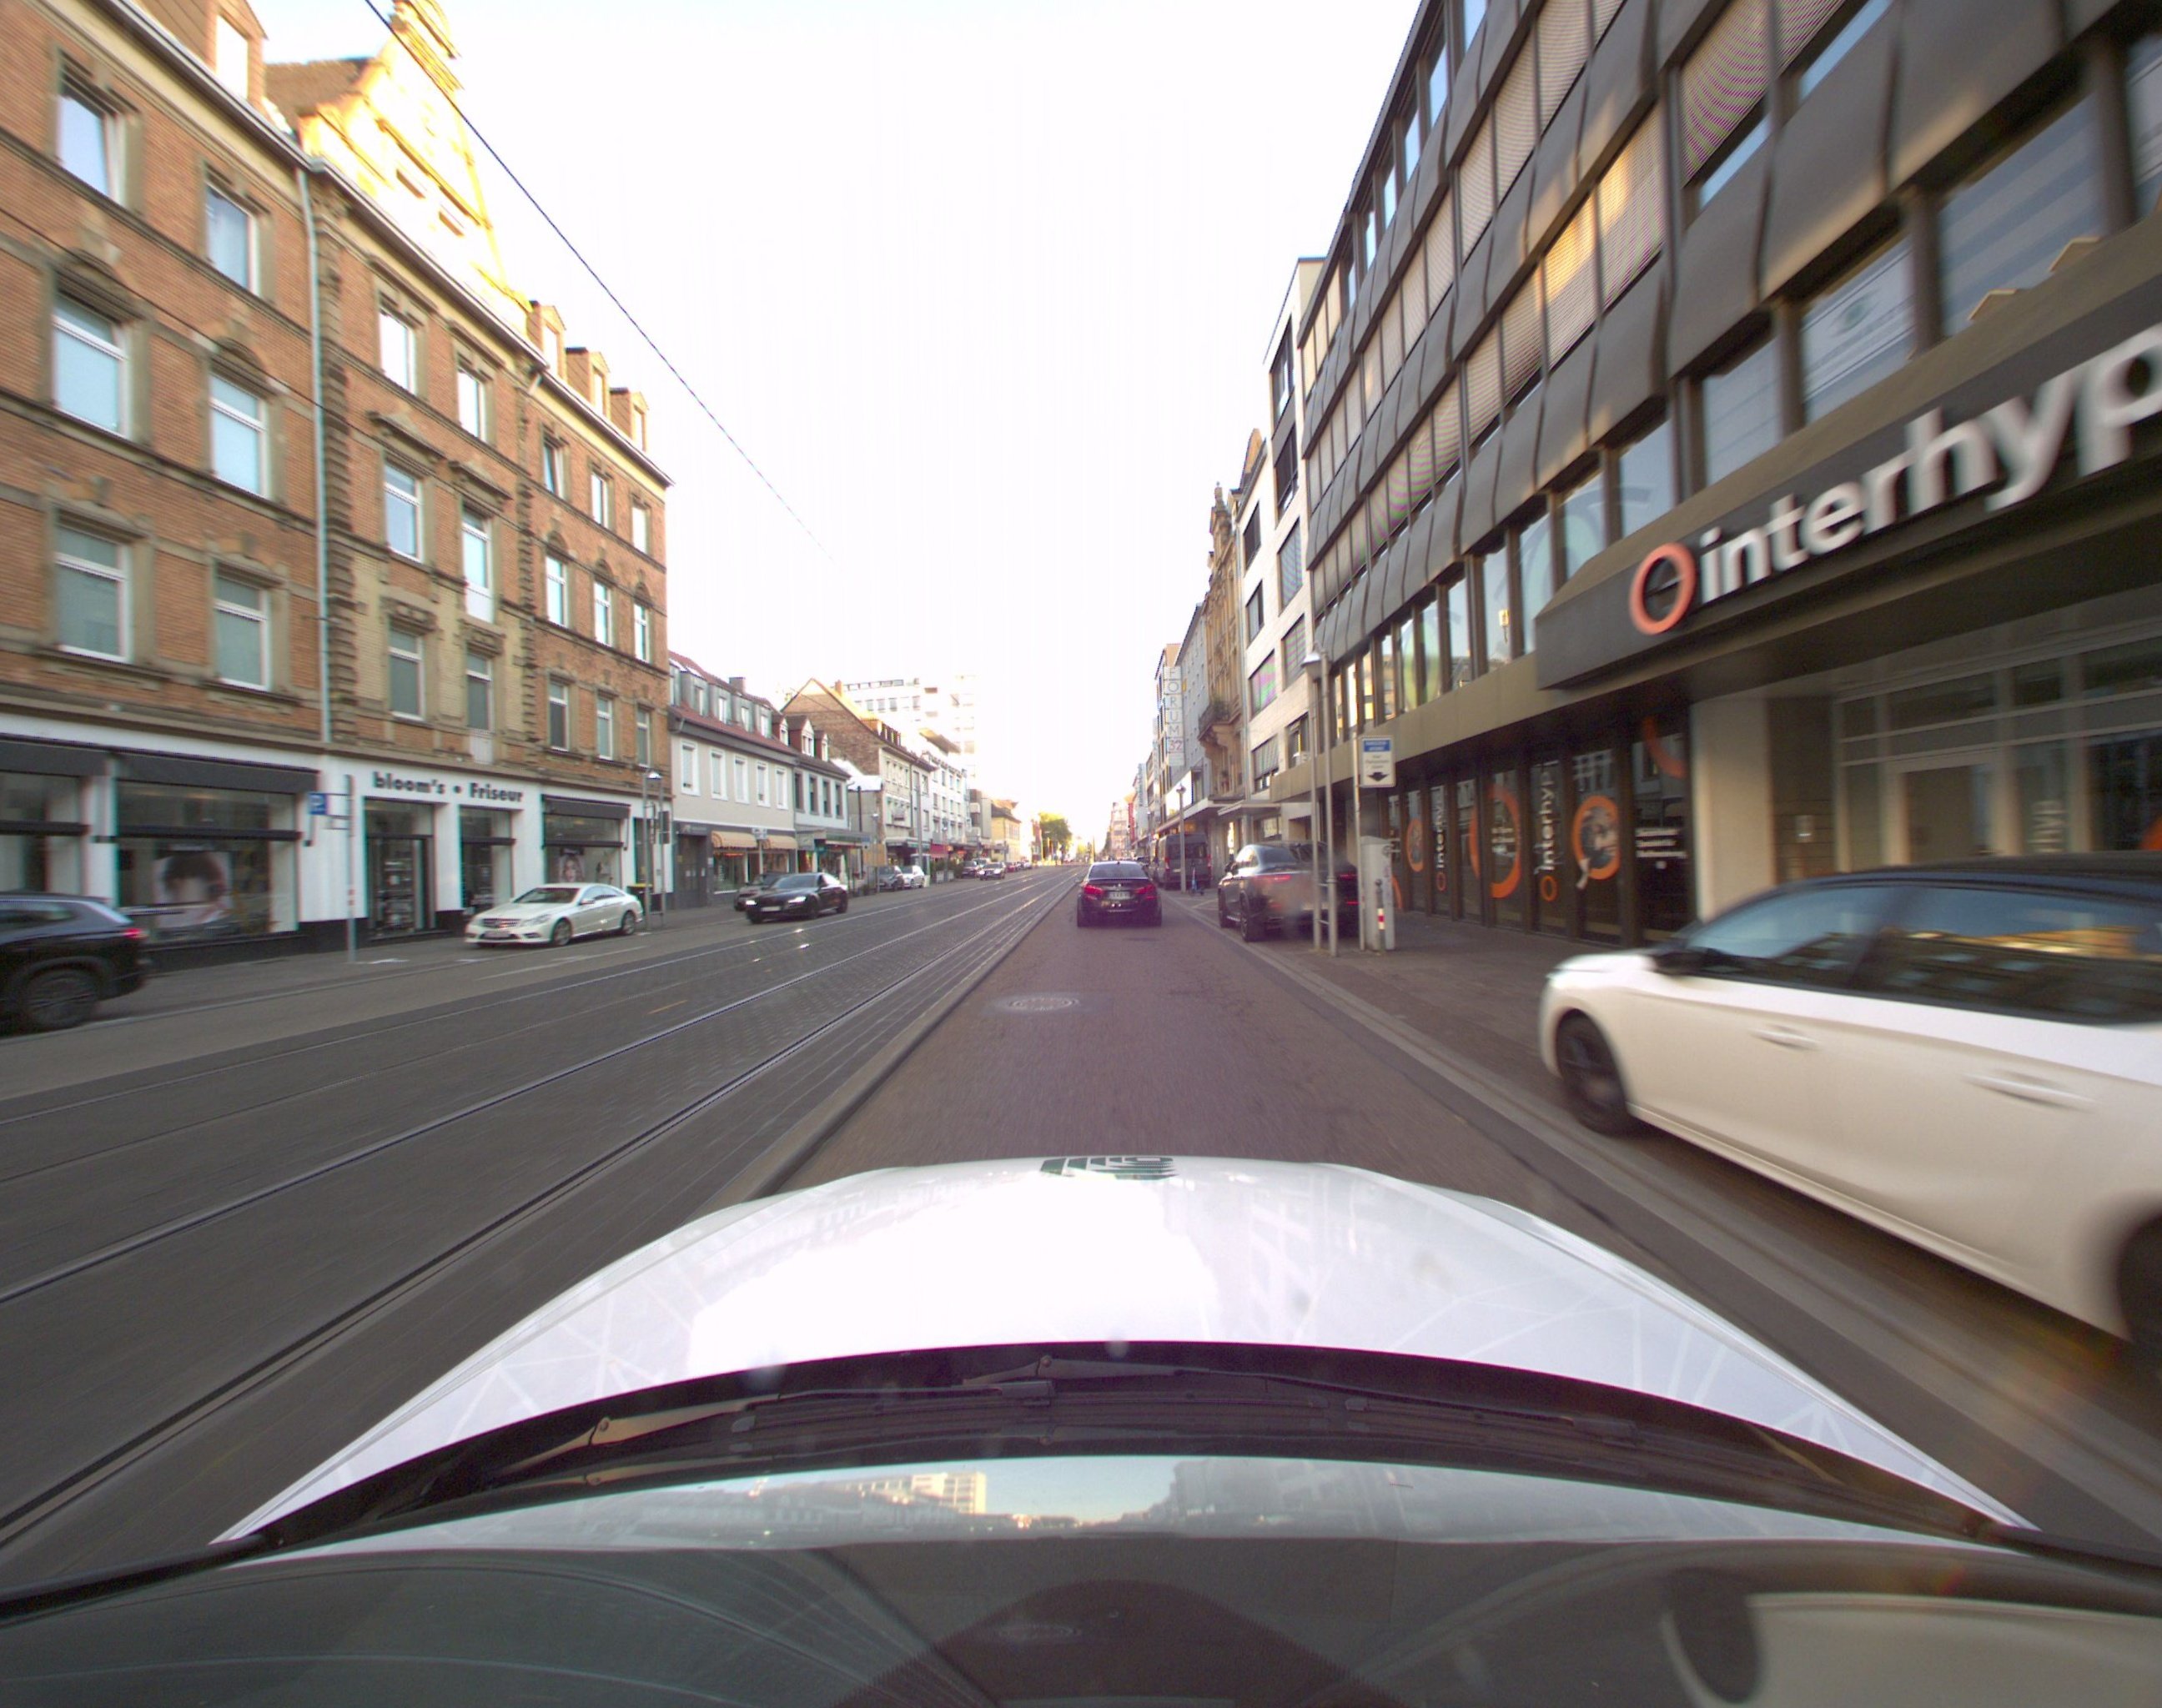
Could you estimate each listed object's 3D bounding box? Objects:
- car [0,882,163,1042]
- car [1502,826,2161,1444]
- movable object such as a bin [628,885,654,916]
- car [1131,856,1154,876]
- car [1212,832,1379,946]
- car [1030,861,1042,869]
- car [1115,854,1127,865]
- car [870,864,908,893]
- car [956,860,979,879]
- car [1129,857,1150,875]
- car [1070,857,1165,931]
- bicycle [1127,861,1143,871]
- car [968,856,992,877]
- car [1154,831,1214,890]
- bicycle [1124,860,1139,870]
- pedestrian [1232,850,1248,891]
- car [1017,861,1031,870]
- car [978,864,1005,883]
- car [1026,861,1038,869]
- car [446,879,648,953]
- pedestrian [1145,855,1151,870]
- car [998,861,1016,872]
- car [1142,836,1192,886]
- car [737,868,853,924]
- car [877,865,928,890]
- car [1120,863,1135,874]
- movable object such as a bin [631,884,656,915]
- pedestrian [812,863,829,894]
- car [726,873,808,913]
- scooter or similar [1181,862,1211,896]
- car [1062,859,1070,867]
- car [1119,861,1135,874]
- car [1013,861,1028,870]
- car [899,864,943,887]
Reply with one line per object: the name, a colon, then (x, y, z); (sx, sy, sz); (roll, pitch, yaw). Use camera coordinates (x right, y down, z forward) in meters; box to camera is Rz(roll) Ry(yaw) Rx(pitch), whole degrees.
car: (-12.734, 1.208, 8.034); (1.922, 1.674, 4.650); (-1, 0, 4)
car: (3.519, 0.664, 3.146); (1.789, 1.433, 3.888); (-4, 0, 2)
movable object such as a bin: (-15.064, 1.588, 27.868); (0.516, 1.043, 0.659); (0, -1, 1)
car: (5.066, 0.964, 67.234); (1.649, 1.537, 3.886); (-3, 0, 1)
car: (3.778, 0.579, 15.250); (1.986, 1.727, 4.567); (-3, 0, 2)
car: (-8.834, 2.183, 159.086); (1.921, 1.435, 4.247); (-1, 0, 2)
car: (6.213, 0.880, 126.879); (1.768, 1.549, 3.503); (-1, -1, 1)
car: (-11.312, 1.436, 48.023); (1.471, 1.577, 2.795); (-2, -1, 1)
car: (-10.958, 1.494, 78.899); (1.862, 1.685, 3.995); (-1, -1, -3)
car: (5.146, 1.020, 72.276); (1.554, 1.442, 3.709); (-4, 0, 1)
car: (0.878, 0.855, 19.367); (1.945, 1.498, 4.468); (-2, 0, 3)
bicycle: (6.330, 1.391, 96.350); (1.854, 1.080, 0.469); (-2, -2, 2)
car: (-10.745, 1.302, 86.816); (1.988, 2.156, 4.907); (-2, 0, -2)
car: (4.736, 0.308, 38.468); (2.085, 2.455, 6.033); (-3, 0, 1)
bicycle: (6.369, 1.402, 102.102); (1.854, 1.119, 0.469); (-2, -2, 2)
pedestrian: (6.496, 0.668, 33.287); (0.548, 1.644, 0.533); (0, -1, 1)
car: (-9.518, 1.890, 136.041); (1.921, 1.435, 4.247); (-1, 0, 2)
car: (-7.669, 1.681, 69.977); (1.685, 1.453, 4.467); (0, 1, 2)
car: (-9.084, 2.069, 151.276); (1.921, 1.435, 4.247); (-1, 0, 2)
car: (-12.520, 1.384, 19.538); (1.864, 1.453, 4.606); (1, -1, -2)
pedestrian: (7.813, 0.988, 95.263); (0.552, 1.791, 0.760); (-2, -1, 1)
car: (-10.125, 1.661, 111.332); (1.921, 1.435, 4.247); (-1, 0, 2)
car: (4.668, 0.402, 44.778); (2.027, 2.455, 5.408); (-4, 0, 0)
car: (-8.768, 1.243, 25.450); (1.988, 1.453, 4.646); (-3, 0, -1)
car: (-11.409, 1.489, 52.372); (1.985, 1.453, 4.825); (-2, 0, 2)
car: (6.352, 2.031, 112.477); (1.896, 1.549, 3.781); (-1, -1, 1)
movable object such as a bin: (-15.393, 1.598, 28.659); (0.493, 1.033, 0.694); (0, -1, 1)
pedestrian: (-14.195, 1.335, 44.427); (0.660, 1.644, 0.694); (-1, -1, 2)
car: (-12.166, 1.478, 31.798); (1.592, 1.440, 3.814); (0, -1, 2)
scooter or similar: (4.355, 0.946, 30.787); (0.493, 1.220, 1.273); (-2, -1, 38)
car: (-4.333, 2.579, 230.921); (1.986, 1.838, 4.000); (-1, -3, 1)
car: (5.940, 1.729, 105.669); (1.896, 1.549, 4.001); (-1, -1, 1)
car: (-9.652, 1.814, 129.947); (1.921, 1.435, 4.247); (-2, 0, 2)
car: (-11.190, 1.475, 57.331); (1.985, 1.453, 4.332); (-2, 0, 2)
